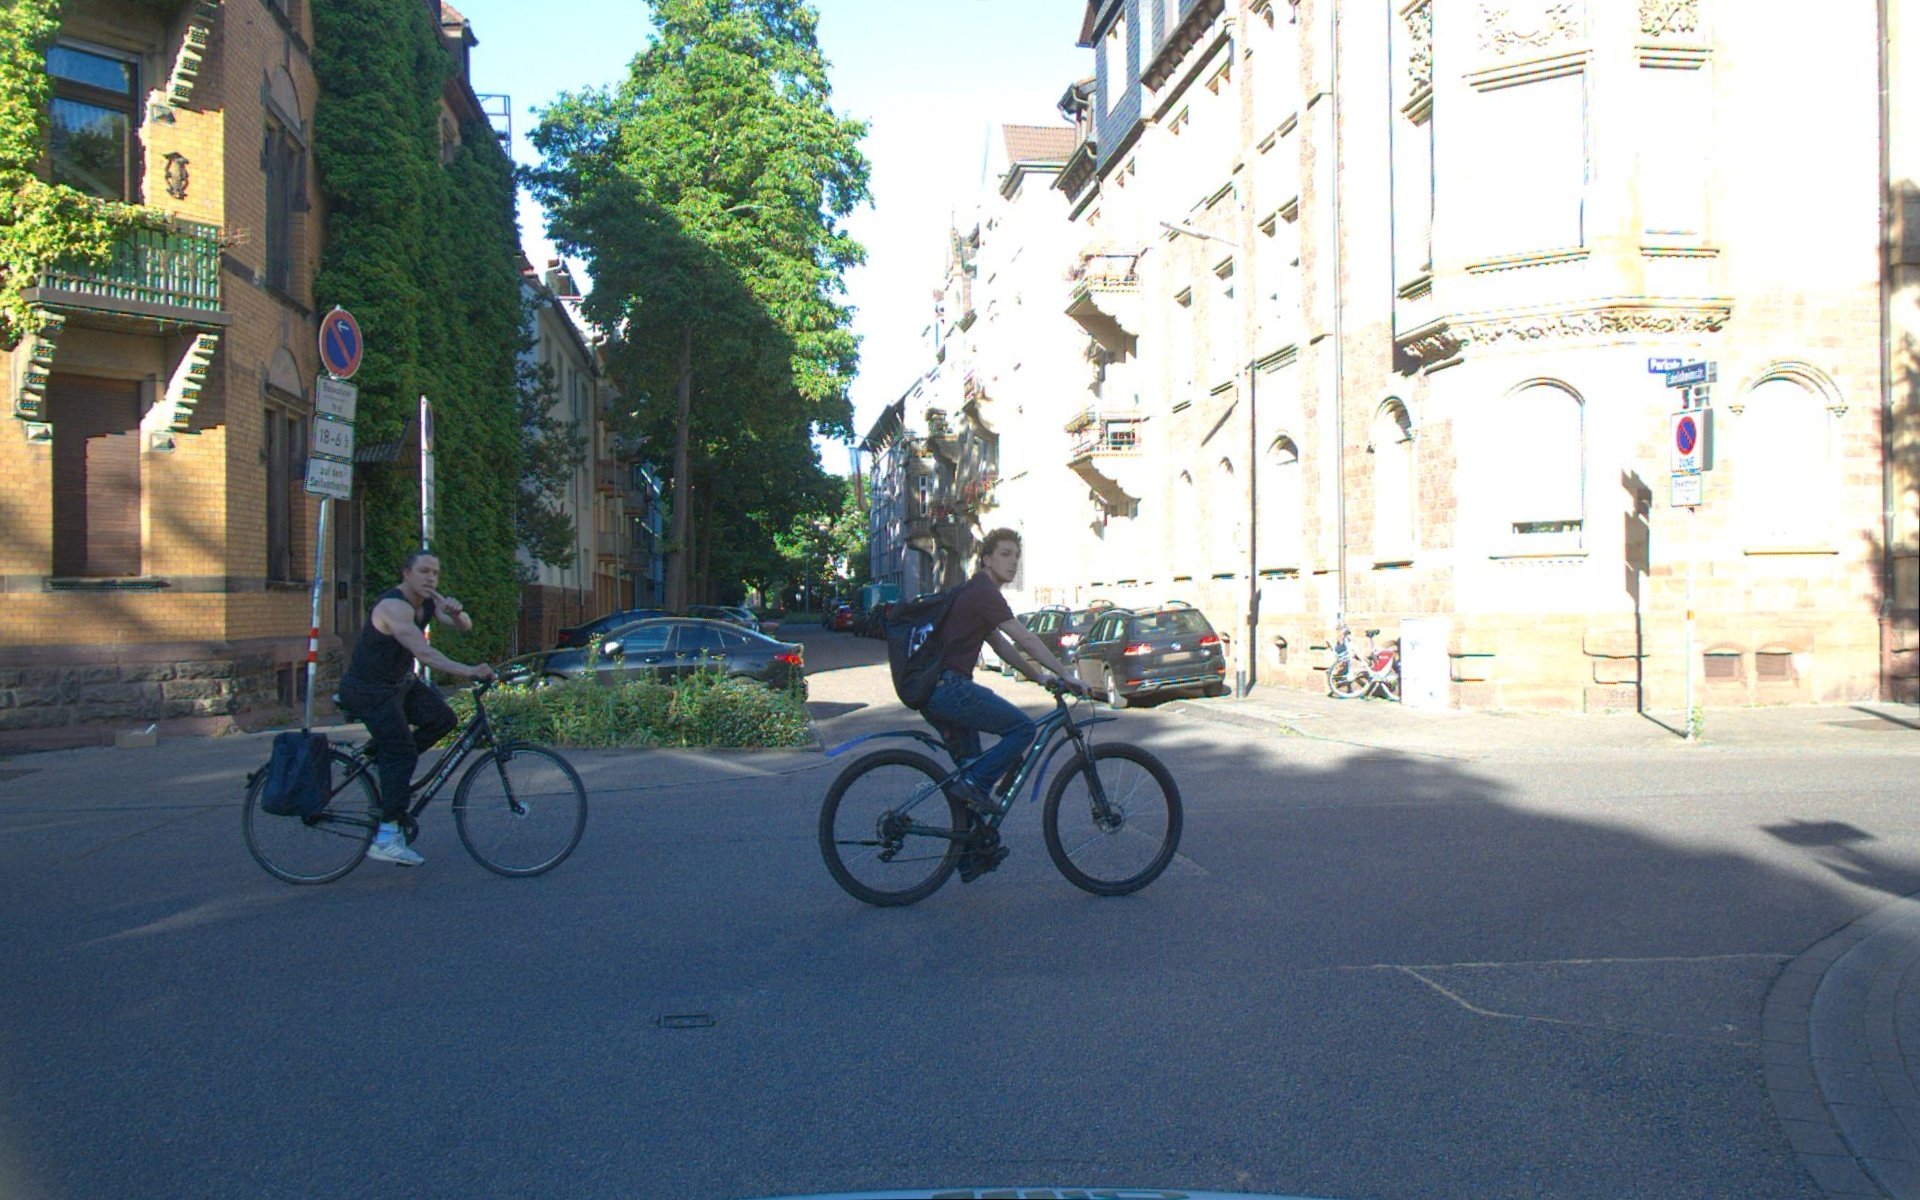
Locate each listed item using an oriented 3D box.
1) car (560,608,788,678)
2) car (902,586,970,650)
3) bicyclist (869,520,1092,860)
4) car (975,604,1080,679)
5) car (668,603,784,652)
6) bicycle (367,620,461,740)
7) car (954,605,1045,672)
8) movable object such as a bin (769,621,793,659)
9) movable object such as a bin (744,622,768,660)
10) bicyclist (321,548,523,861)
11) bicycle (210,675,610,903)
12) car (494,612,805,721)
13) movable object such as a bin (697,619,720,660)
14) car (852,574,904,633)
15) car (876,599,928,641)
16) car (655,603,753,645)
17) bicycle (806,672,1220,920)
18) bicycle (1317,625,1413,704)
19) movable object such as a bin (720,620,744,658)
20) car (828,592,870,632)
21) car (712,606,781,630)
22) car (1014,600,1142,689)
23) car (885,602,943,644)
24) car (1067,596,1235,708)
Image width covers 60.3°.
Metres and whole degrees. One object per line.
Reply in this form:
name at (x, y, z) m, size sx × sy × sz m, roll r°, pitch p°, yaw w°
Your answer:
car at (-6.153, 0.921, 35.825) m, size 4.746 × 1.460 × 1.706 m, roll 0°, pitch -1°, yaw -10°
car at (-0.822, 0.588, 54.359) m, size 1.769 × 2.039 × 3.993 m, roll 0°, pitch 0°, yaw -8°
bicyclist at (0.082, 0.415, 7.988) m, size 0.951 × 1.553 × 0.719 m, roll 0°, pitch -1°, yaw -11°
car at (1.466, 0.903, 37.344) m, size 1.705 × 1.609 × 3.993 m, roll 0°, pitch 0°, yaw -8°
car at (-7.825, 0.924, 55.186) m, size 3.734 × 1.603 × 1.705 m, roll 0°, pitch -1°, yaw -12°
bicycle at (-6.317, 0.900, 19.200) m, size 0.551 × 1.290 × 1.603 m, roll -1°, pitch 0°, yaw 0°
car at (0.950, 0.933, 41.769) m, size 1.705 × 1.609 × 3.993 m, roll 0°, pitch 0°, yaw -8°
movable object such as a bin at (-5.137, 1.133, 47.339) m, size 0.618 × 1.071 × 0.566 m, roll 0°, pitch -1°, yaw -14°
movable object such as a bin at (-5.819, 1.171, 47.213) m, size 0.618 × 1.071 × 0.566 m, roll 0°, pitch -1°, yaw -14°
bicyclist at (-2.800, 0.522, 8.677) m, size 0.953 × 1.553 × 0.705 m, roll 0°, pitch -1°, yaw -16°
bicycle at (-2.867, 0.960, 8.788) m, size 1.930 × 1.091 × 0.695 m, roll 0°, pitch -1°, yaw -16°
car at (-4.370, 0.916, 23.598) m, size 4.165 × 1.460 × 1.995 m, roll 0°, pitch -1°, yaw -10°
movable object such as a bin at (-7.130, 1.118, 46.922) m, size 0.588 × 1.173 × 0.485 m, roll 0°, pitch -1°, yaw -14°
car at (-3.968, 0.179, 79.462) m, size 2.125 × 2.738 × 4.782 m, roll 0°, pitch -1°, yaw -8°
car at (-2.463, 0.827, 69.440) m, size 1.769 × 1.708 × 3.993 m, roll 0°, pitch 0°, yaw -8°
car at (-10.026, 0.943, 64.890) m, size 3.732 × 1.603 × 1.706 m, roll 0°, pitch -1°, yaw -10°
bicycle at (0.245, 0.917, 8.026) m, size 1.927 × 1.091 × 0.556 m, roll 0°, pitch 2°, yaw -11°
bicycle at (5.507, 0.860, 22.550) m, size 0.506 × 1.015 × 1.567 m, roll 1°, pitch -1°, yaw -19°
movable object such as a bin at (-6.488, 1.118, 47.020) m, size 0.618 × 1.071 × 0.566 m, roll 0°, pitch -1°, yaw -14°
car at (-6.501, 0.711, 96.385) m, size 2.125 × 2.276 × 4.782 m, roll 0°, pitch 0°, yaw -8°
car at (-11.763, 0.978, 90.970) m, size 3.732 × 1.262 × 1.706 m, roll 0°, pitch -1°, yaw -10°
car at (2.215, 0.827, 31.995) m, size 1.705 × 1.609 × 3.993 m, roll 0°, pitch 0°, yaw -8°
car at (-1.764, 0.855, 62.516) m, size 1.769 × 1.541 × 3.993 m, roll 0°, pitch 0°, yaw -8°
car at (2.899, 0.766, 25.921) m, size 1.705 × 1.609 × 3.993 m, roll 0°, pitch 0°, yaw -8°
